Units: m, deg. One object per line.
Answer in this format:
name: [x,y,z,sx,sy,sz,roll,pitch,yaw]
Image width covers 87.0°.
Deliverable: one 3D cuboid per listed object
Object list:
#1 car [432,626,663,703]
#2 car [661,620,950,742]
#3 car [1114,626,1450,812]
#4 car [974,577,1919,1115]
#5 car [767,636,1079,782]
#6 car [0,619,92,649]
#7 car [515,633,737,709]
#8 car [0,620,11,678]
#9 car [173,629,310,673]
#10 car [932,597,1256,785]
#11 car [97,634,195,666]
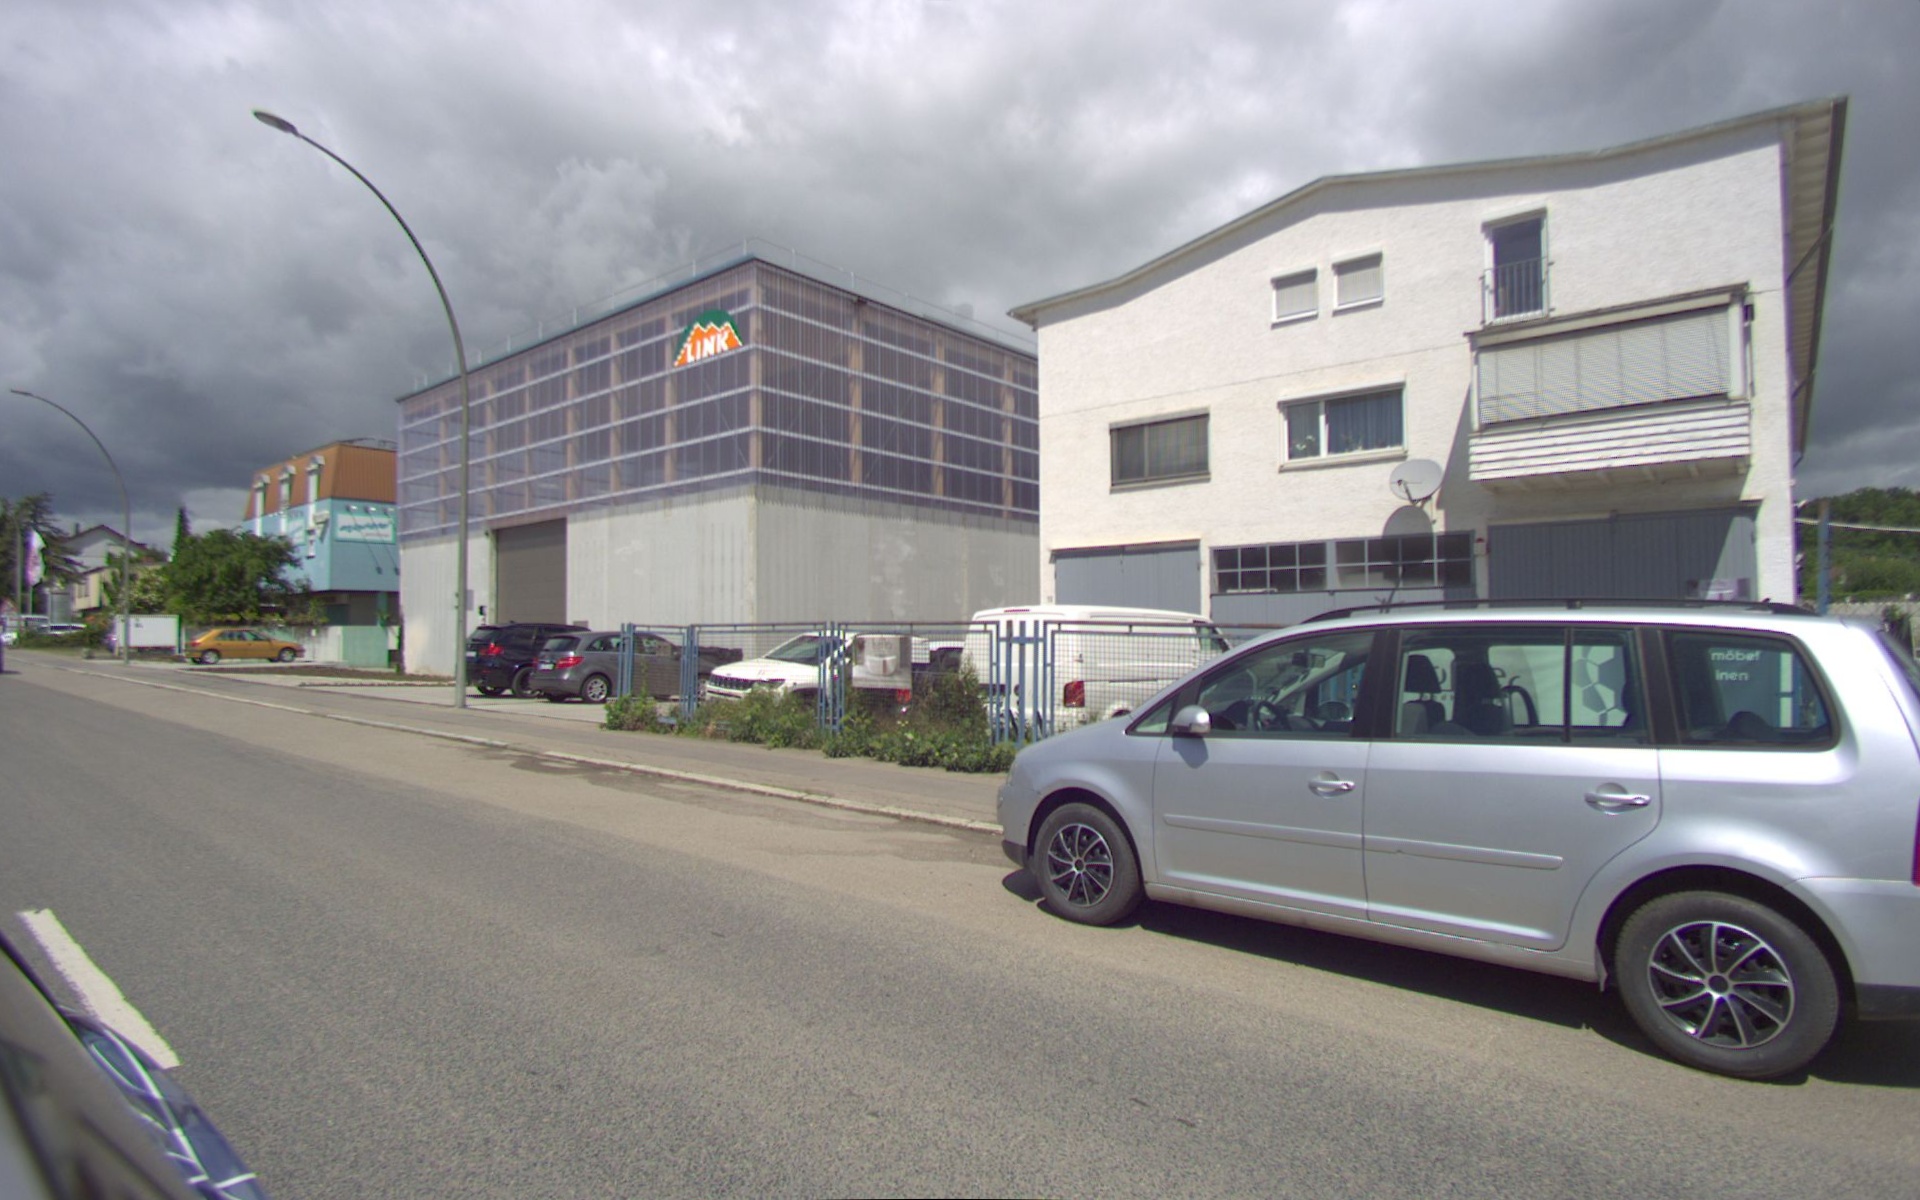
car: [-9.694,1.590,24.135,2.194,1.645,4.583,-2,-6,37]
car: [-2.318,1.173,16.089,1.991,1.578,4.235,2,0,41]
car: [3.649,1.087,10.953,1.990,1.496,4.236,2,0,40]
car: [2.294,0.812,4.756,4.361,1.616,1.773,-2,-4,41]
car: [-0.360,1.344,14.053,1.990,1.578,4.236,2,0,40]
car: [-62.106,2.315,68.612,2.112,1.987,4.607,-2,-3,37]
car: [-7.300,1.603,22.557,1.823,1.517,4.419,-2,-6,37]
car: [-31.487,1.530,31.759,4.545,1.747,1.973,-2,-4,41]
car: [-28.513,2.001,40.266,1.823,1.503,4.111,-2,0,37]
car: [1.824,0.978,12.551,1.990,1.850,4.236,2,0,40]
car: [-41.207,2.522,51.273,1.979,1.544,3.588,-2,-2,43]
